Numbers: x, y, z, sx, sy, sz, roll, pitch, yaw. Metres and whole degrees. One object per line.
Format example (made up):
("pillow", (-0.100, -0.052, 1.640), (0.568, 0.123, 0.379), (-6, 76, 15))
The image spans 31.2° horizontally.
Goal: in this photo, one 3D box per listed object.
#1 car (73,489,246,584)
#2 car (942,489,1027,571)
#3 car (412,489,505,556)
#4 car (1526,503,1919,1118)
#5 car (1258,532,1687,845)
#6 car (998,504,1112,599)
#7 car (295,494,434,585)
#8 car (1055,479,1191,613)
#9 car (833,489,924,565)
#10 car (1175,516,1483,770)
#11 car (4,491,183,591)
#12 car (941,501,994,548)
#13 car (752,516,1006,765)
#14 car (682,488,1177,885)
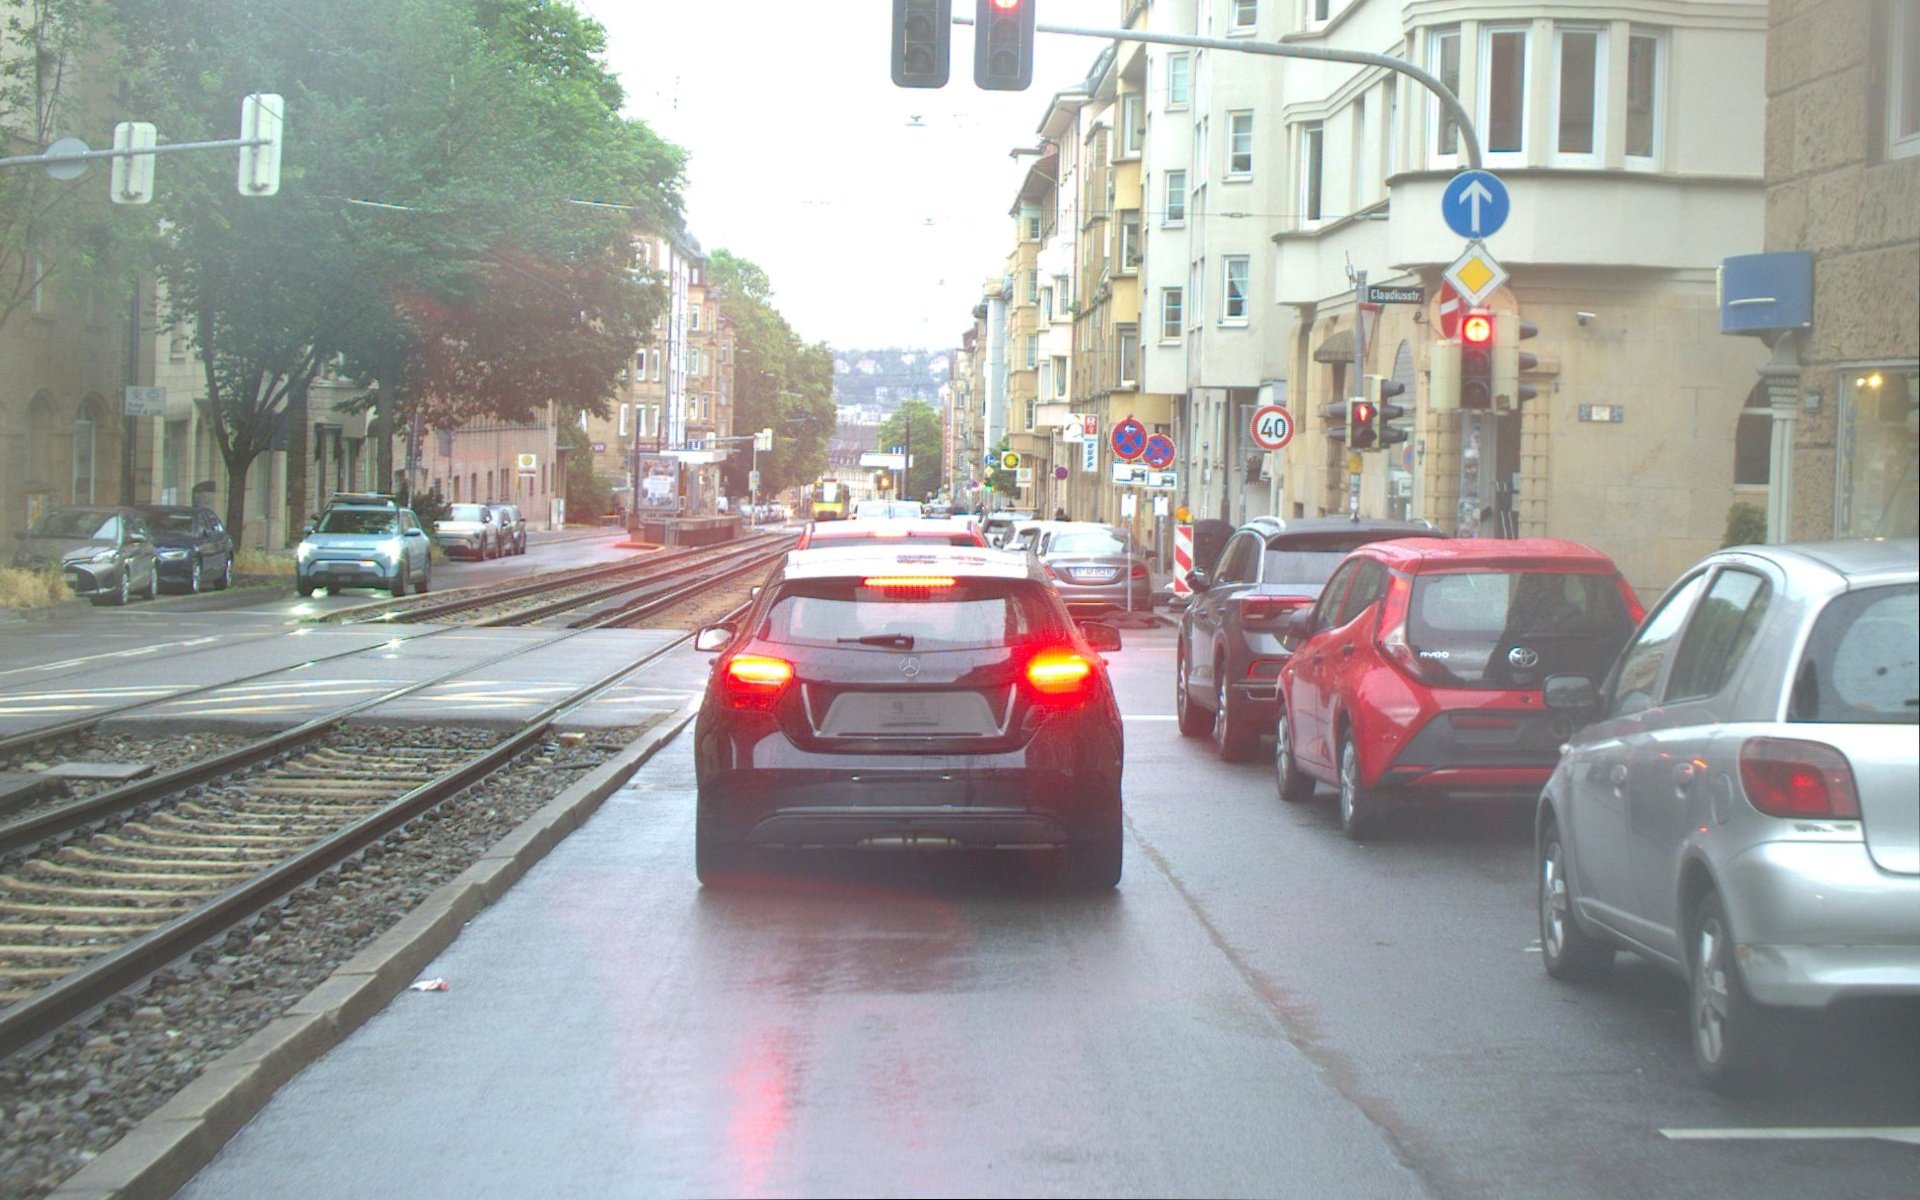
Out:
("car", (-13.510, -1.081, 58.239), (1.993, 1.512, 4.000), (1, 1, -1))
("car", (0.532, -1.575, 78.238), (1.852, 1.791, 3.812), (0, 0, 0))
("car", (-14.039, -2.182, 96.427), (1.993, 1.787, 4.000), (2, 1, -1))
("car", (2.852, 0.506, 10.387), (1.638, 1.537, 3.466), (2, 1, 0))
("car", (2.544, 0.387, 17.719), (1.602, 1.414, 3.149), (1, 2, -2))
("car", (1.808, -0.922, 66.571), (1.768, 1.769, 4.001), (0, 0, -4))
("car", (-10.452, -1.075, 60.574), (1.795, 1.543, 4.000), (0, 1, -1))
("car", (2.541, -0.830, 54.425), (1.898, 2.021, 4.176), (0, 0, 0))
("car", (-1.915, -1.701, 79.231), (1.921, 1.649, 4.001), (1, 1, -3))
("car", (2.379, 0.214, 23.009), (1.549, 1.503, 4.000), (2, 1, 0))
("car", (-13.282, -0.906, 52.919), (1.771, 1.459, 4.000), (0, 1, 0))
("car", (0.258, -2.813, 127.920), (1.909, 1.700, 4.000), (1, 2, 0))
("car", (-0.520, 0.202, 23.335), (1.536, 1.505, 4.000), (2, 1, 0))
("car", (-0.181, 0.323, 15.412), (1.946, 1.559, 3.643), (0, 1, -2))
